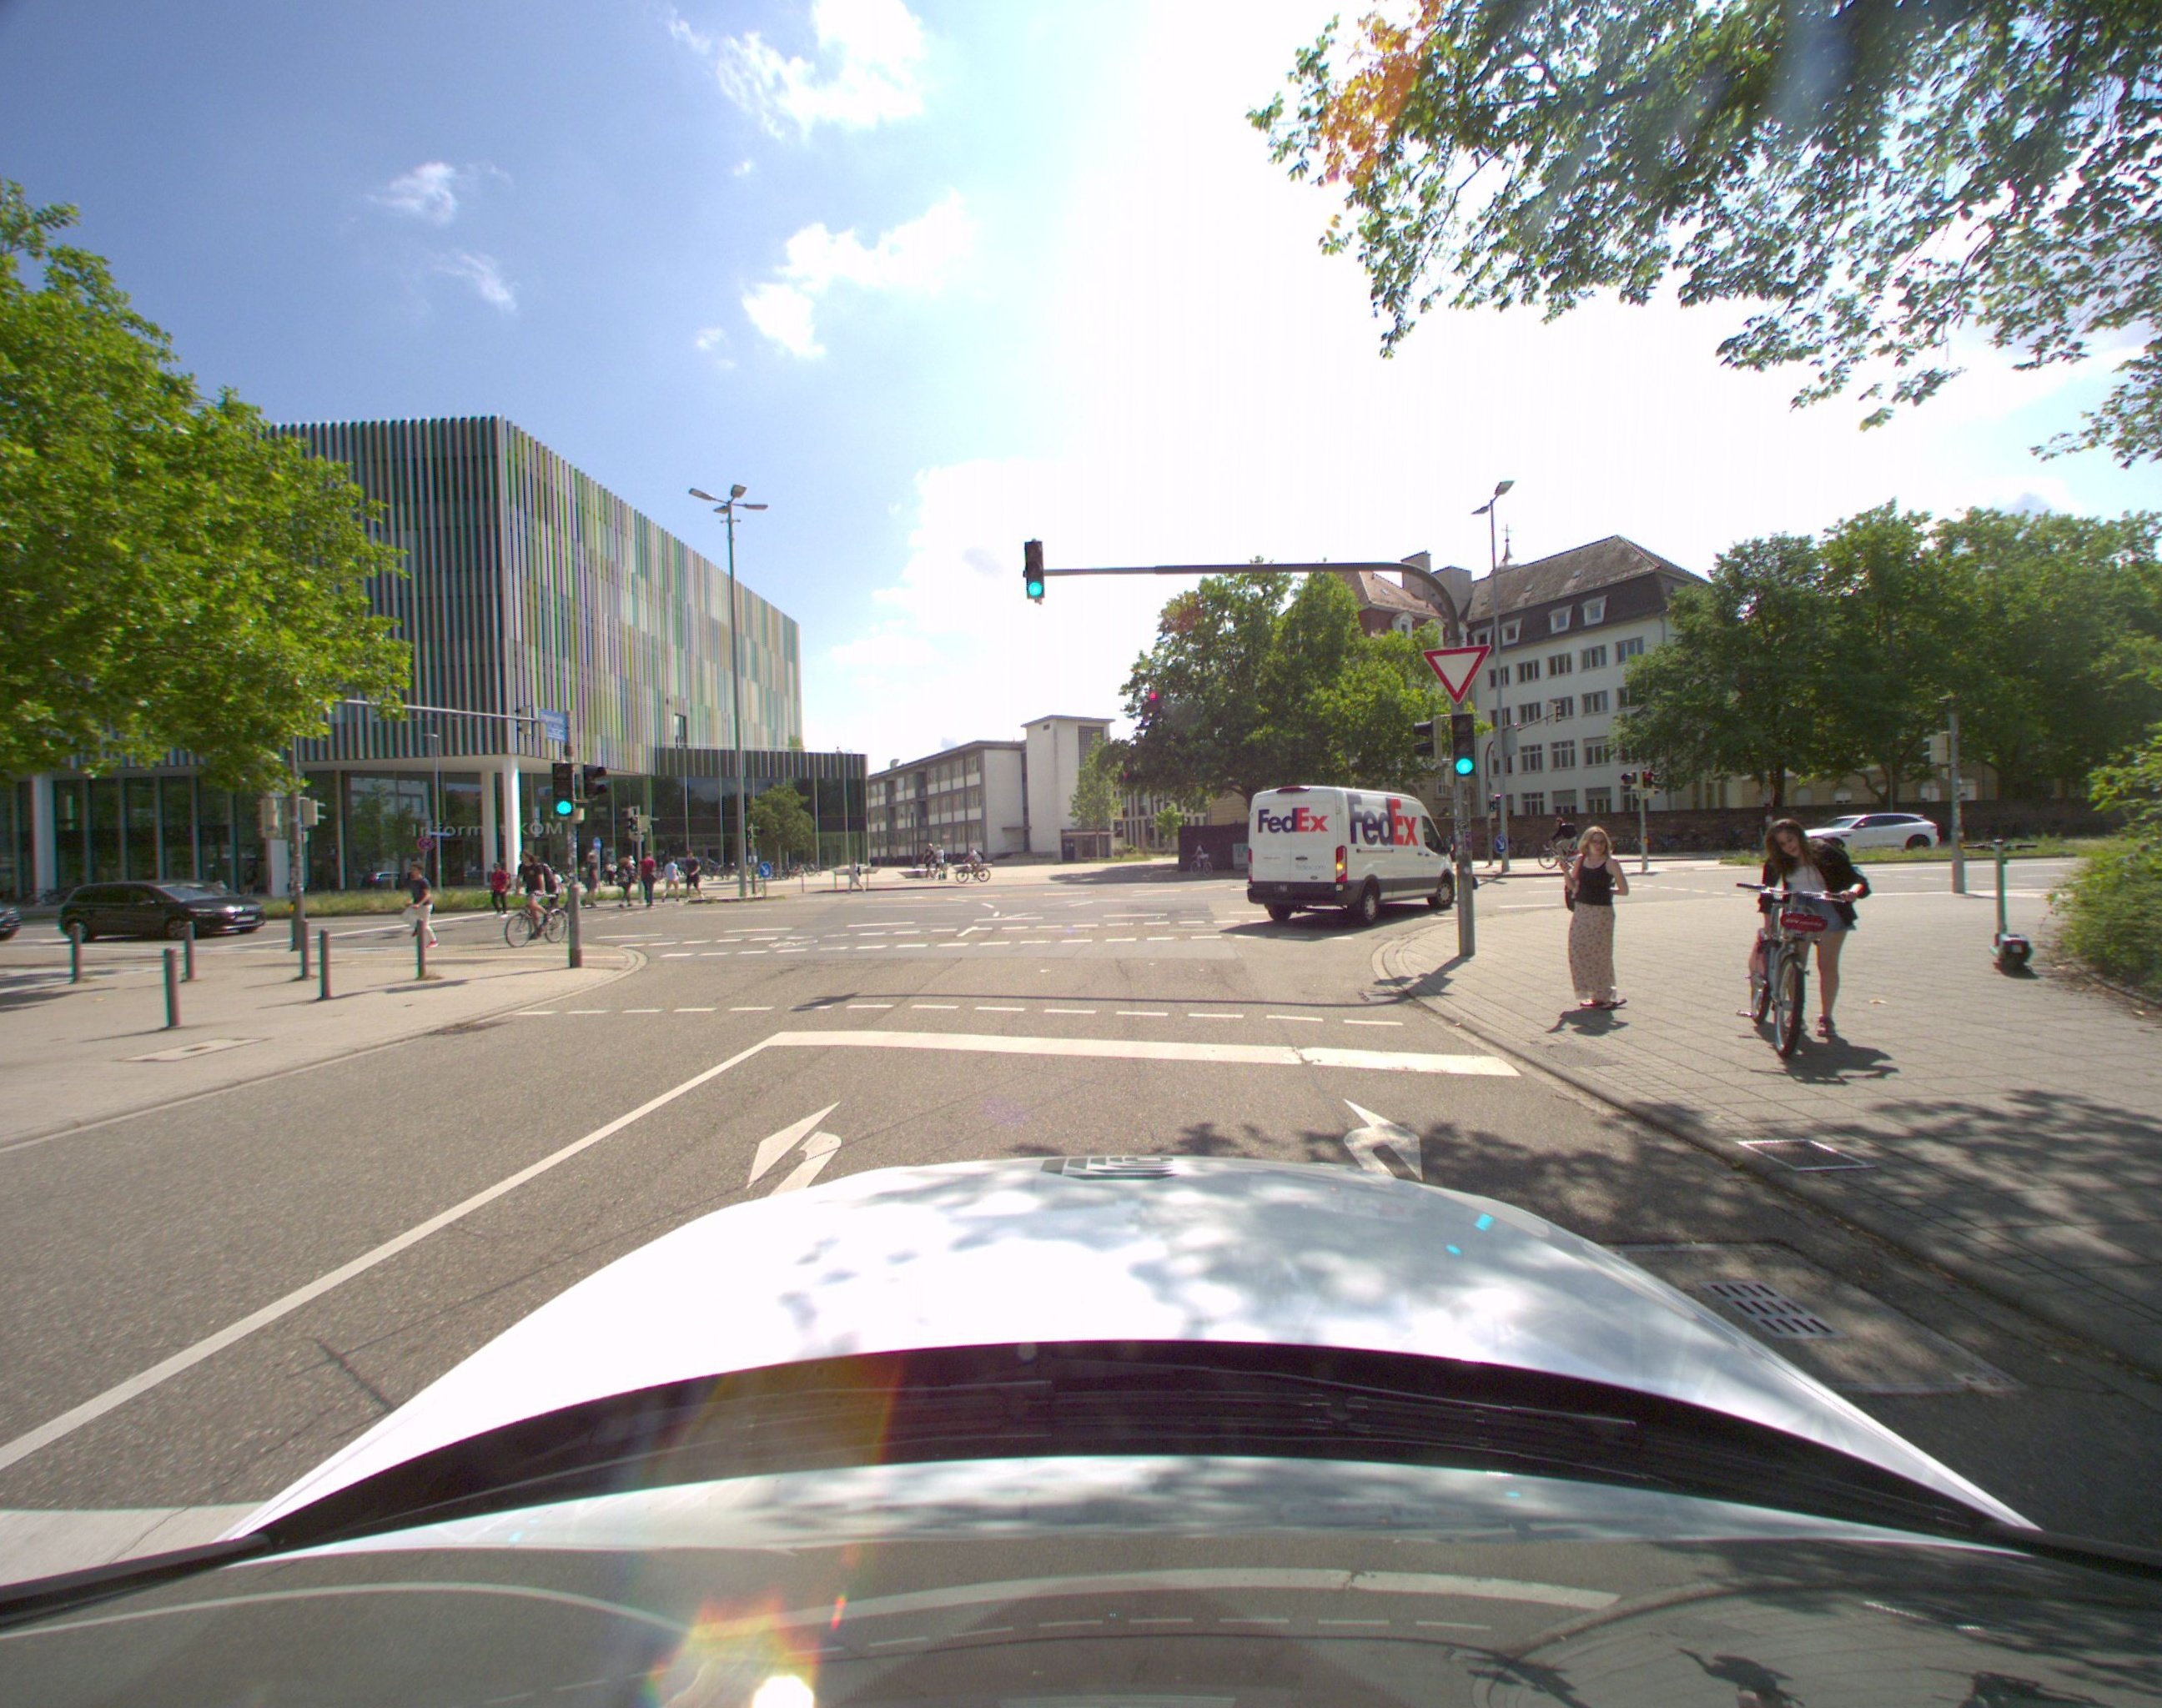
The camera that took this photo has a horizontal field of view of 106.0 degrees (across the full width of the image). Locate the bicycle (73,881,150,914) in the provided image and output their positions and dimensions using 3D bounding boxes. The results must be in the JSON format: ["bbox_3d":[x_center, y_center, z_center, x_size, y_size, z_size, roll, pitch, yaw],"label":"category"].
[{"bbox_3d":[-58.271,2.583,49.000,0.955,1.838,2.955,-1,0,5],"label":"bicycle"}]

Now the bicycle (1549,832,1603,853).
[{"bbox_3d":[25.927,-0.592,42.650,2.374,0.994,0.753,-2,0,-2],"label":"bicycle"}]

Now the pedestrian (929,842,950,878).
[{"bbox_3d":[-7.611,0.324,43.735,0.869,1.889,0.906,-2,0,-23],"label":"pedestrian"}]

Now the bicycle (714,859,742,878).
[{"bbox_3d":[-24.032,0.968,55.394,1.206,1.237,2.919,-1,0,-35],"label":"bicycle"}]

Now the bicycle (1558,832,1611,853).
[{"bbox_3d":[26.370,-0.593,42.666,2.374,0.994,0.724,-2,0,-2],"label":"bicycle"}]

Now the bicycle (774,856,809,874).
[{"bbox_3d":[-20.452,0.788,57.537,1.208,1.237,2.915,-1,0,-43],"label":"bicycle"}]

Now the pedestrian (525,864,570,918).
[{"bbox_3d":[-16.343,1.128,24.949,0.767,1.597,0.799,-2,0,4],"label":"pedestrian"}]

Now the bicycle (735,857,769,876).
[{"bbox_3d":[-22.607,0.872,55.956,1.208,1.237,2.915,-1,0,-43],"label":"bicycle"}]

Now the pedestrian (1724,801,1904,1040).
[{"bbox_3d":[5.203,0.450,5.846,0.717,1.575,0.738,-5,-1,30],"label":"pedestrian"}]

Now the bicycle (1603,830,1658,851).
[{"bbox_3d":[28.861,-0.718,42.808,2.374,0.994,0.753,-2,0,-2],"label":"bicycle"}]

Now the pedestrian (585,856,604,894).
[{"bbox_3d":[-32.927,1.401,55.119,0.980,2.565,1.004,-1,0,-34],"label":"pedestrian"}]

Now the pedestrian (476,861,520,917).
[{"bbox_3d":[-18.060,1.064,25.244,0.750,1.678,0.756,-2,0,4],"label":"pedestrian"}]

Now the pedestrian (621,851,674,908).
[{"bbox_3d":[-14.320,0.834,26.908,0.799,1.807,1.273,-2,0,18],"label":"pedestrian"}]

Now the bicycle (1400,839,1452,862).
[{"bbox_3d":[17.969,-0.189,42.489,2.374,1.058,0.753,-2,0,-2],"label":"bicycle"}]

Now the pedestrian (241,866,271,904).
[{"bbox_3d":[-51.700,1.950,51.042,0.969,2.345,0.891,-1,0,2],"label":"pedestrian"}]

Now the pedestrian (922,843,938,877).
[{"bbox_3d":[-8.239,0.304,44.383,0.671,1.815,0.810,-2,0,-20],"label":"pedestrian"}]

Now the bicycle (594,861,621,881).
[{"bbox_3d":[-29.631,1.052,50.920,1.206,1.237,2.920,-1,0,-34],"label":"bicycle"}]

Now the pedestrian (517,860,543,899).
[{"bbox_3d":[-37.537,1.739,55.493,0.969,2.565,1.015,-1,0,2],"label":"pedestrian"}]

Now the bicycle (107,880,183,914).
[{"bbox_3d":[-56.097,2.533,48.847,0.954,1.838,2.956,-1,0,6],"label":"bicycle"}]

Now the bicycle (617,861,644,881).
[{"bbox_3d":[-28.594,1.070,51.684,1.206,1.237,2.920,-1,0,-34],"label":"bicycle"}]

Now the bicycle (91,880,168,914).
[{"bbox_3d":[-57.150,2.557,48.960,0.954,1.838,2.956,-1,0,6],"label":"bicycle"}]

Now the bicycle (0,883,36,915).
[{"bbox_3d":[-65.951,2.757,49.494,0.982,1.838,2.953,-1,0,3],"label":"bicycle"}]

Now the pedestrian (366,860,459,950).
[{"bbox_3d":[-14.477,1.095,17.683,0.698,1.856,1.403,-2,-3,11],"label":"pedestrian"}]

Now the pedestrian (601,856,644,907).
[{"bbox_3d":[-15.328,0.921,27.267,0.819,1.654,0.866,-2,0,17],"label":"pedestrian"}]

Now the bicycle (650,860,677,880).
[{"bbox_3d":[-27.310,1.033,53.233,1.206,1.237,2.920,-1,0,-34],"label":"bicycle"}]

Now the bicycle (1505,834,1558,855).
[{"bbox_3d":[23.473,-0.479,42.469,2.374,0.994,0.696,-2,0,-2],"label":"bicycle"}]

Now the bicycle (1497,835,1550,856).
[{"bbox_3d":[23.043,-0.456,42.454,2.374,0.994,0.753,-2,0,-2],"label":"bicycle"}]

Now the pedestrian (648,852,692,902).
[{"bbox_3d":[-15.422,0.850,30.553,0.853,1.818,1.102,-2,0,25],"label":"pedestrian"}]

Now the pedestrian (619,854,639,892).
[{"bbox_3d":[-31.064,1.323,55.970,0.981,2.565,1.002,-1,0,-41],"label":"pedestrian"}]

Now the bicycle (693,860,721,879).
[{"bbox_3d":[-25.147,1.032,54.735,1.206,1.237,2.920,-1,0,-34],"label":"bicycle"}]

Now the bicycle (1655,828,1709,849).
[{"bbox_3d":[31.697,-0.833,42.963,2.374,0.994,0.724,-2,0,-2],"label":"bicycle"}]

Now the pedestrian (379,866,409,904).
[{"bbox_3d":[-44.102,1.988,52.290,0.969,2.345,1.015,-1,0,2],"label":"pedestrian"}]

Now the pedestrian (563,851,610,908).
[{"bbox_3d":[-16.989,0.867,27.976,0.845,1.876,1.012,-2,0,22],"label":"pedestrian"}]

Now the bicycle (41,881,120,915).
[{"bbox_3d":[-60.360,2.630,49.168,0.955,1.838,2.955,-1,0,5],"label":"bicycle"}]

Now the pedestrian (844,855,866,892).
[{"bbox_3d":[-9.687,0.835,34.889,0.827,1.523,0.810,-2,0,-17],"label":"pedestrian"}]

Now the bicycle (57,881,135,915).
[{"bbox_3d":[-59.332,2.607,49.107,0.955,1.838,2.955,-1,0,5],"label":"bicycle"}]

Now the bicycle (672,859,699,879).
[{"bbox_3d":[-26.241,0.989,53.987,1.206,1.237,2.920,-1,0,-34],"label":"bicycle"}]

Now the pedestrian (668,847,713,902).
[{"bbox_3d":[-13.799,0.704,28.778,0.822,1.870,1.091,-2,0,25],"label":"pedestrian"}]

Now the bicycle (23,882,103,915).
[{"bbox_3d":[-61.444,2.655,49.219,0.955,1.838,2.955,-1,0,4],"label":"bicycle"}]

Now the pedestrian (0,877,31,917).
[{"bbox_3d":[-61.122,2.443,46.490,0.969,2.201,1.015,-1,0,2],"label":"pedestrian"}]

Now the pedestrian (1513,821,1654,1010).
[{"bbox_3d":[4.511,0.530,7.375,0.727,1.575,0.777,-5,0,7],"label":"pedestrian"}]
